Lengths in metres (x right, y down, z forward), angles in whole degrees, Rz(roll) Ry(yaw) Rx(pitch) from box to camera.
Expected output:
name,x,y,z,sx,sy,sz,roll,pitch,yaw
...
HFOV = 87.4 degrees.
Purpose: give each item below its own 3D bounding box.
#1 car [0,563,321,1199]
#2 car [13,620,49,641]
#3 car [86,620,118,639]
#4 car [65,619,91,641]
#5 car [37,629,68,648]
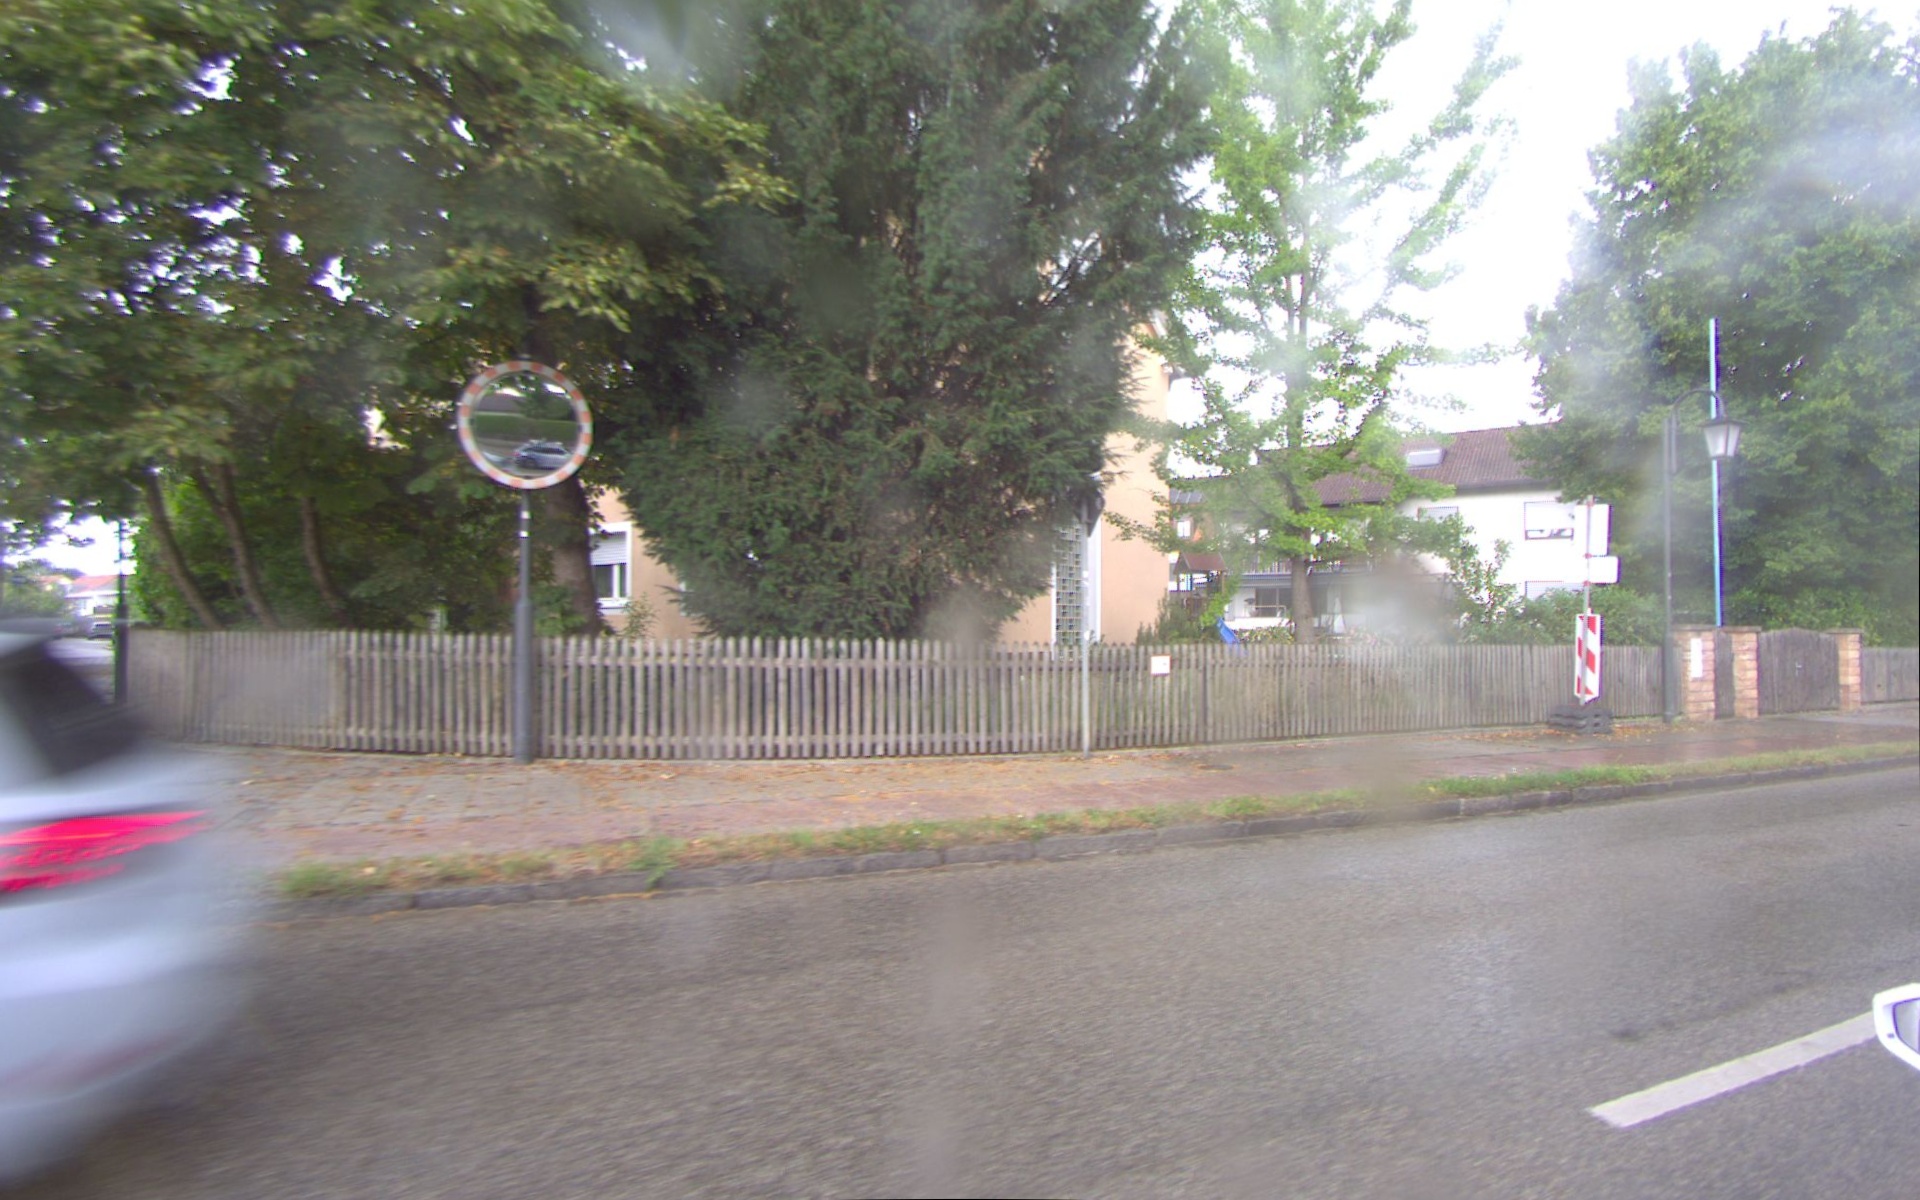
name,x,y,z,sx,sy,sz,roll,pitch,yaw
car,-3.713,0.586,1.971,3.950,1.461,1.710,2,0,-28
car,-73.220,2.383,79.183,1.986,1.461,3.949,2,0,-43
car,-75.606,2.618,88.517,1.986,1.461,3.949,2,0,-43
car,-90.500,3.102,103.068,1.985,2.040,3.950,2,0,-42
car,-80.737,3.397,89.369,1.986,1.461,3.949,2,0,-43
